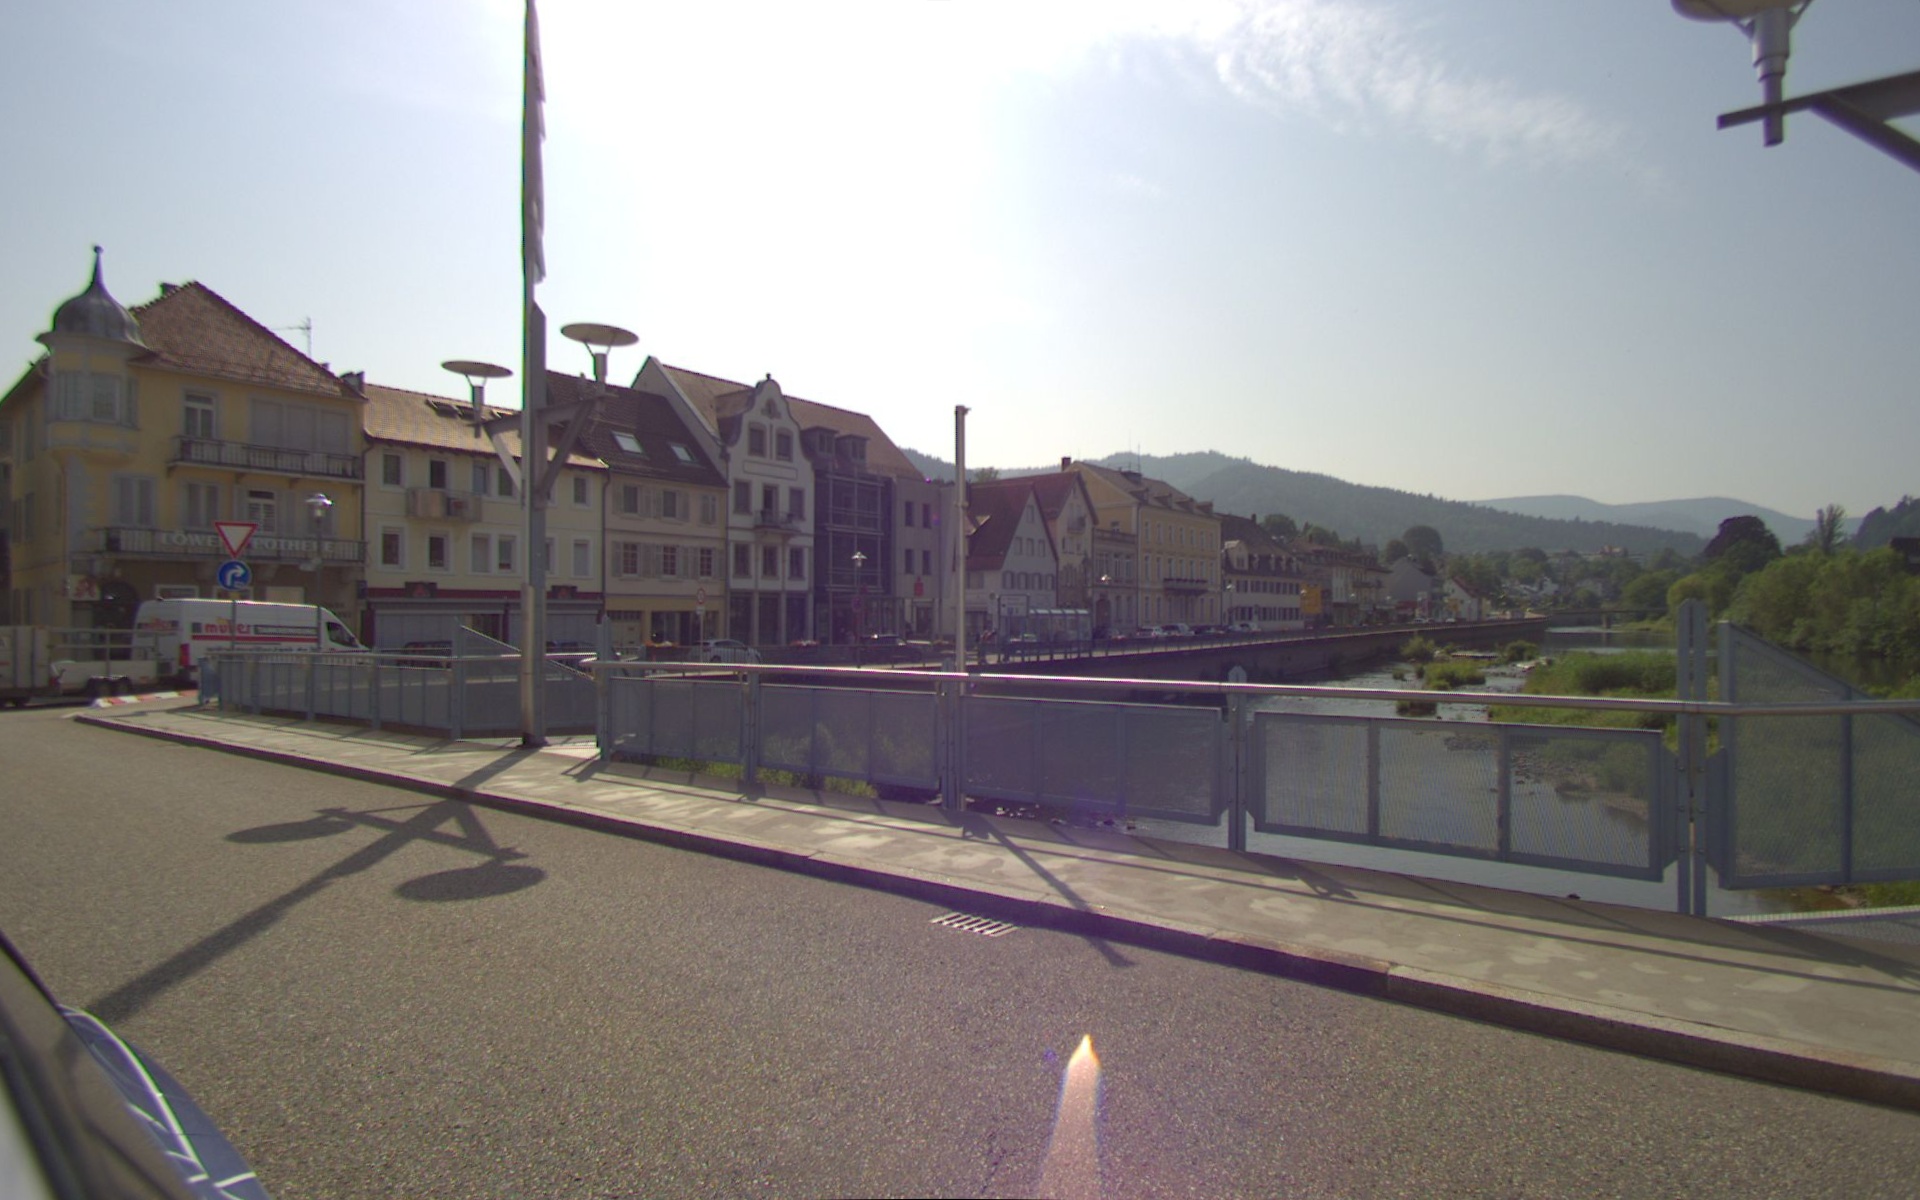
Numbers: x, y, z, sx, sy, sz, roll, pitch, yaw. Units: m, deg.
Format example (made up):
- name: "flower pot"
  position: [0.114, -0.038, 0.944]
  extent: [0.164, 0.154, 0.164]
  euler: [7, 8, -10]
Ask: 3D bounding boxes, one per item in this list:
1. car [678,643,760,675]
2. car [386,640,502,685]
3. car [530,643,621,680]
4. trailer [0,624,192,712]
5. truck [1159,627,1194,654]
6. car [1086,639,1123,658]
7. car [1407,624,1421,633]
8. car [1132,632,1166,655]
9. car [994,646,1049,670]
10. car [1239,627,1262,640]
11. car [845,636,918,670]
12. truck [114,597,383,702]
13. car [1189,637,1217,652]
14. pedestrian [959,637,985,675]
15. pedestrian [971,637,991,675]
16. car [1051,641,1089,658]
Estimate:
- name: "car"
  position: [-11.816, 2.860, 49.801]
  extent: [1.748, 1.459, 3.750]
  euler: [-2, -2, 34]
- name: "car"
  position: [-19.653, 2.364, 38.660]
  extent: [1.848, 1.580, 3.526]
  euler: [-2, -2, 34]
- name: "car"
  position: [-16.452, 2.596, 43.423]
  extent: [1.748, 1.459, 3.238]
  euler: [-2, -2, 34]
- name: "trailer"
  position: [-21.233, 1.561, 24.123]
  extent: [2.575, 1.842, 5.652]
  euler: [0, -2, -13]
- name: "truck"
  position: [20.900, 3.871, 97.567]
  extent: [1.748, 2.487, 4.607]
  euler: [-2, -2, 34]
- name: "car"
  position: [11.924, 3.980, 83.318]
  extent: [1.748, 1.459, 3.238]
  euler: [-2, -2, 34]
- name: "car"
  position: [75.035, 4.649, 167.269]
  extent: [1.515, 1.459, 3.238]
  euler: [-2, -2, 34]
- name: "car"
  position: [17.109, 3.928, 91.412]
  extent: [1.748, 1.950, 3.535]
  euler: [-2, -2, 34]
- name: "car"
  position: [4.105, 3.819, 66.828]
  extent: [1.751, 1.367, 4.152]
  euler: [-3, -2, 33]
- name: "car"
  position: [32.491, 3.724, 113.036]
  extent: [1.515, 1.459, 3.238]
  euler: [-2, -2, 34]
- name: "car"
  position: [-3.995, 2.715, 52.083]
  extent: [1.680, 1.572, 3.924]
  euler: [-2, -1, 34]
- name: "truck"
  position: [-20.859, 1.479, 30.289]
  extent: [2.090, 2.720, 7.105]
  euler: [-2, -3, 12]
- name: "car"
  position: [24.498, 4.447, 102.084]
  extent: [1.748, 1.459, 3.238]
  euler: [-2, -2, 34]
- name: "pedestrian"
  position: [0.542, 2.520, 45.747]
  extent: [0.868, 1.719, 0.767]
  euler: [-1, -2, 38]
- name: "pedestrian"
  position: [0.950, 2.556, 46.269]
  extent: [0.791, 1.719, 0.485]
  euler: [-1, -2, 38]
- name: "car"
  position: [8.582, 3.858, 78.644]
  extent: [1.565, 1.229, 3.238]
  euler: [-2, -2, 34]
